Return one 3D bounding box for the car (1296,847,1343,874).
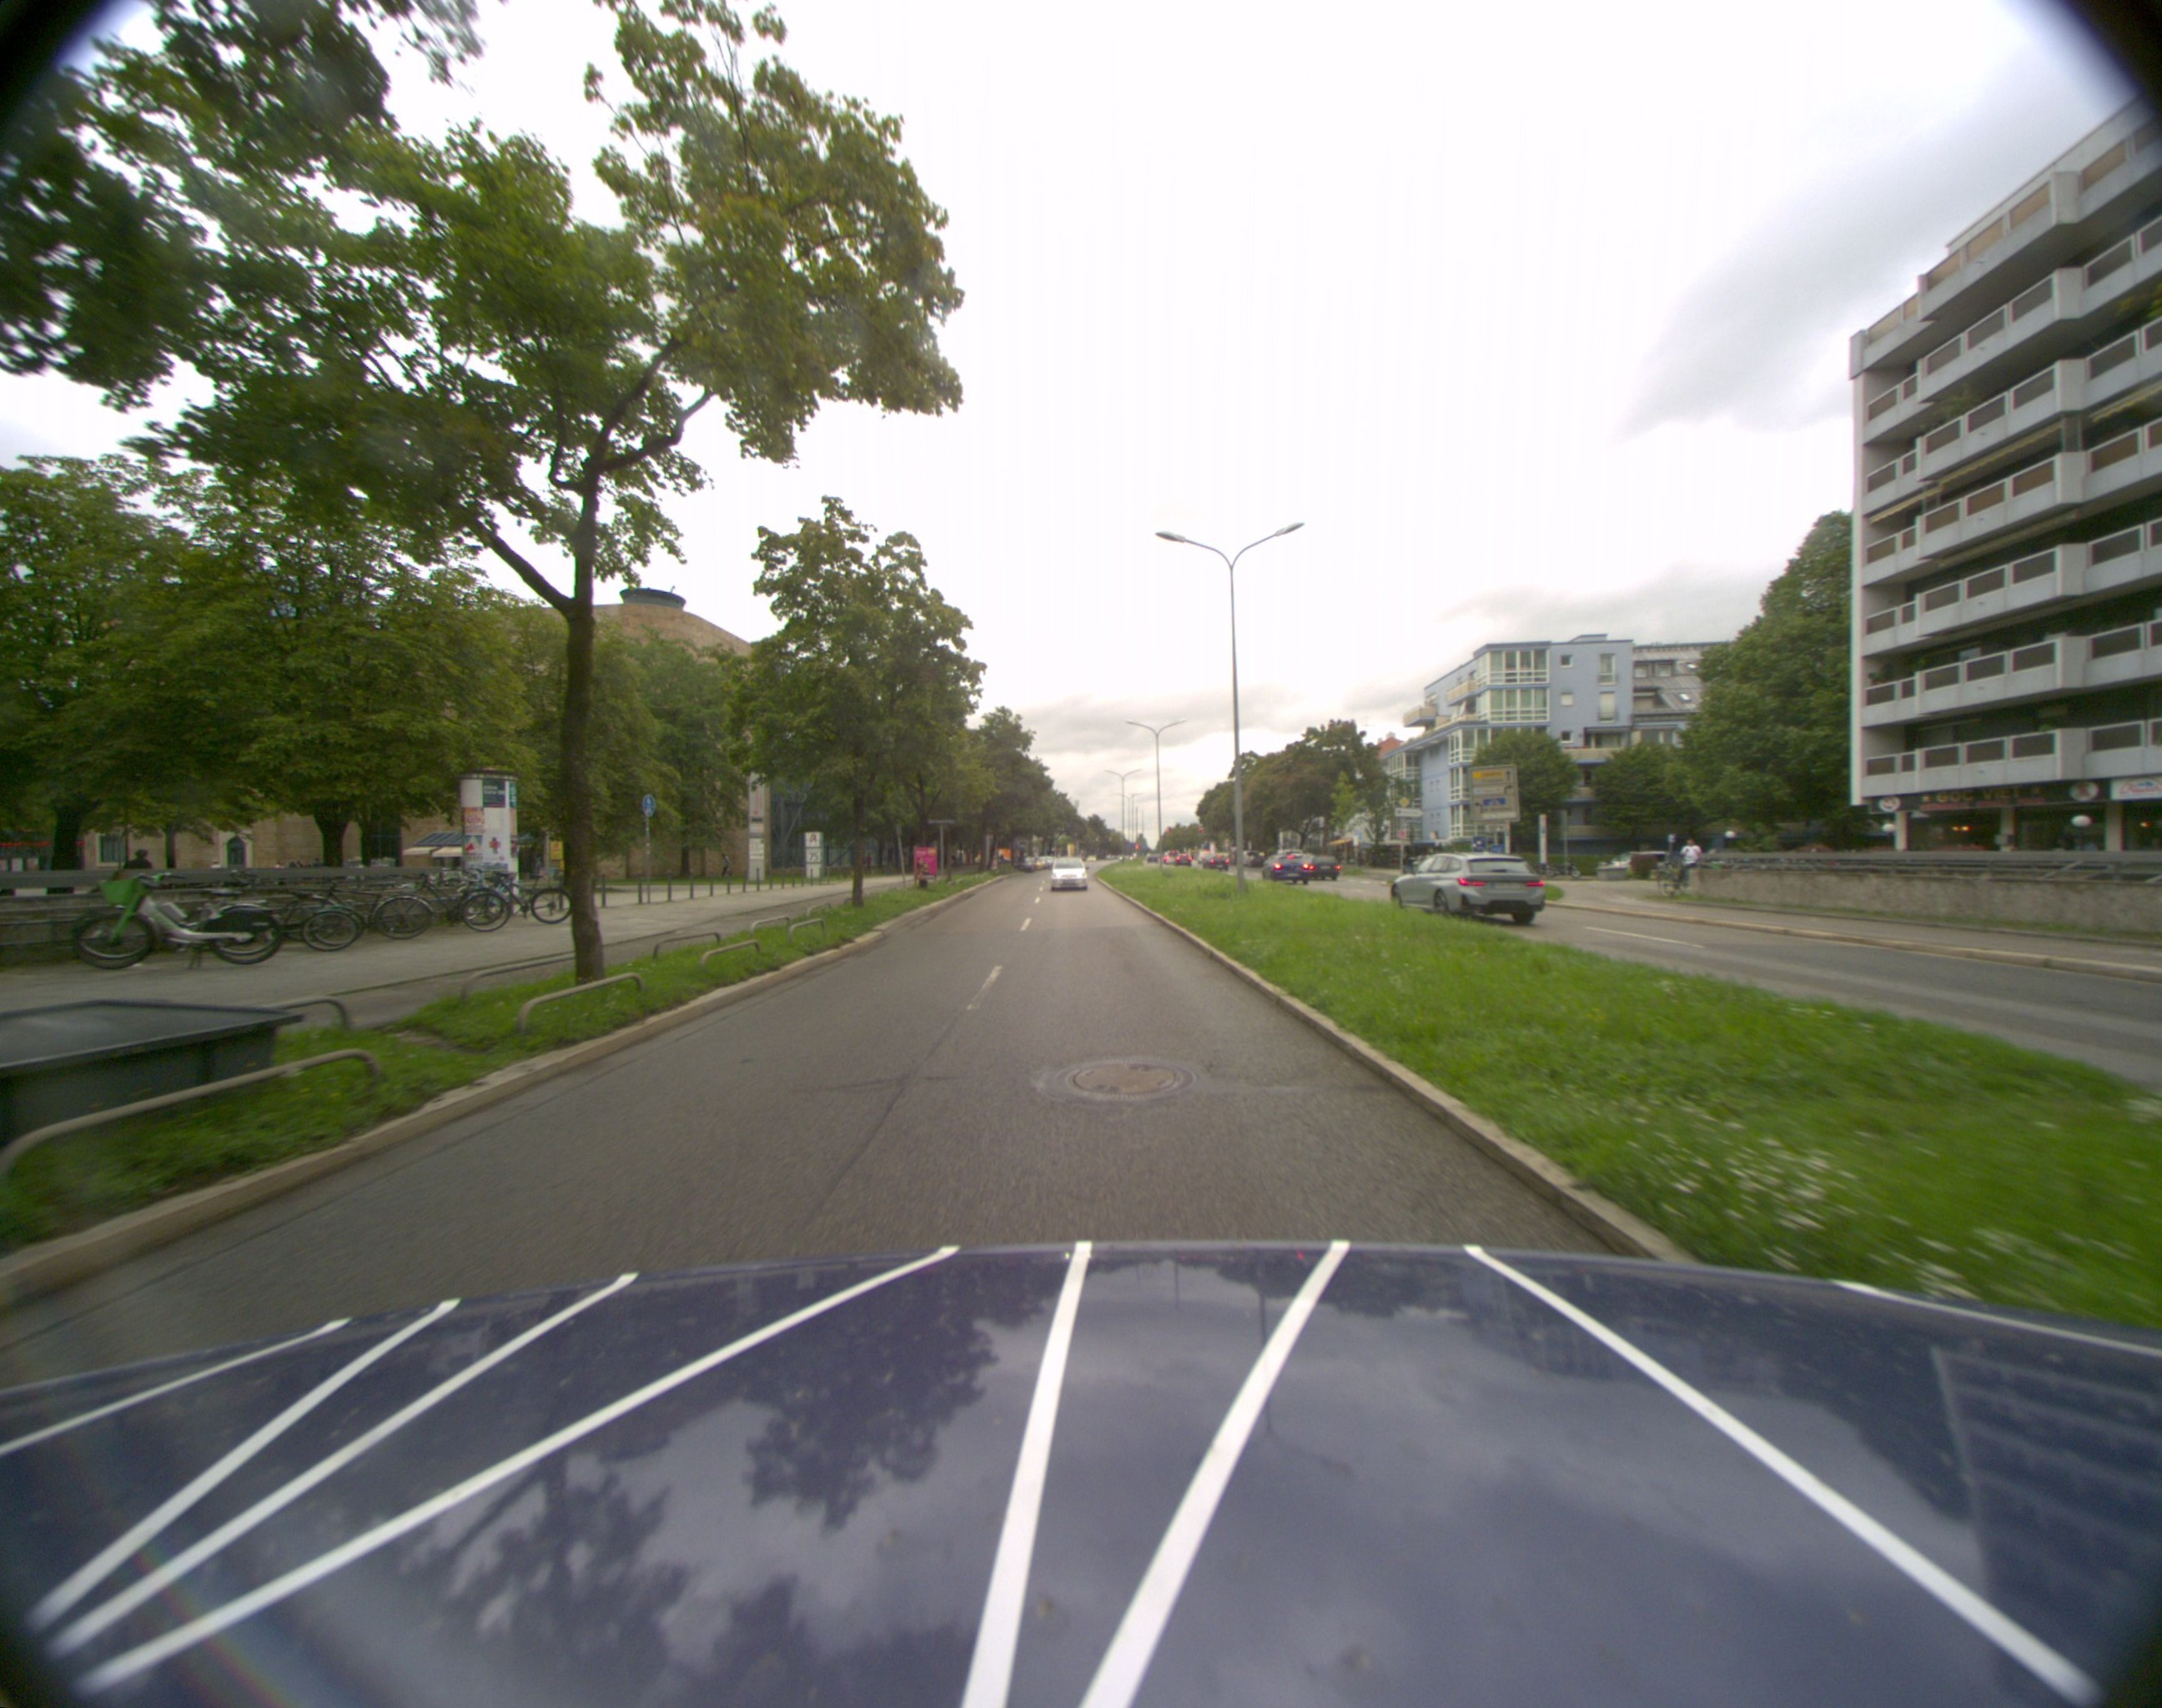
[{"bbox_3d":[13.762,0.366,44.108,1.695,1.475,3.968,-1,0,4],"label":"car"}]

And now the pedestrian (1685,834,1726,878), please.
[{"bbox_3d":[24.429,0.084,29.754,0.670,1.698,1.131,-1,1,-1],"label":"pedestrian"}]

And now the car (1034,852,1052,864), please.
[{"bbox_3d":[-4.581,0.457,91.176,1.626,1.466,3.896,0,1,5],"label":"car"}]

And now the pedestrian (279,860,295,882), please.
[{"bbox_3d":[-47.655,1.032,45.610,0.420,1.275,0.513,-1,1,-10],"label":"pedestrian"}]

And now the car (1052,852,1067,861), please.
[{"bbox_3d":[-3.021,0.337,107.190,1.589,1.310,3.735,0,1,5],"label":"car"}]

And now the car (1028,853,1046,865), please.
[{"bbox_3d":[-4.938,0.561,86.379,1.626,1.373,4.195,0,1,3],"label":"car"}]

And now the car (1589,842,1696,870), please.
[{"bbox_3d":[34.878,0.098,47.302,5.113,1.672,2.000,-1,1,3],"label":"car"}]

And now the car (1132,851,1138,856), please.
[{"bbox_3d":[13.965,-0.254,195.982,1.589,1.259,3.735,0,1,5],"label":"car"}]

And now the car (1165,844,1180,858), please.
[{"bbox_3d":[13.296,-0.460,110.377,1.944,1.986,4.705,0,1,5],"label":"car"}]

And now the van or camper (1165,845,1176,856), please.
[{"bbox_3d":[15.076,-0.610,128.225,1.795,1.787,4.126,0,1,5],"label":"van or camper"}]

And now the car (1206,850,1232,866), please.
[{"bbox_3d":[12.577,0.314,69.471,1.786,1.397,4.102,0,1,3],"label":"car"}]

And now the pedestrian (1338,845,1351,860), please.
[{"bbox_3d":[27.450,-0.175,79.139,0.976,1.593,0.766,-1,1,-9],"label":"pedestrian"}]

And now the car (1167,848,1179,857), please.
[{"bbox_3d":[14.478,-0.248,119.764,1.795,1.440,3.673,0,1,5],"label":"car"}]

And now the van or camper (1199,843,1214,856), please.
[{"bbox_3d":[20.208,-0.682,122.747,2.020,2.004,5.200,0,1,5],"label":"van or camper"}]

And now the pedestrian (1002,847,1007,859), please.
[{"bbox_3d":[-10.993,-0.168,109.008,0.528,1.713,0.660,1,2,0],"label":"pedestrian"}]

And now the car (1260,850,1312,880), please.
[{"bbox_3d":[10.075,0.487,37.620,1.695,1.394,3.968,0,0,4],"label":"car"}]

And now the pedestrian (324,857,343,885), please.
[{"bbox_3d":[-45.341,1.014,46.096,0.563,1.668,0.593,-1,1,3],"label":"pedestrian"}]

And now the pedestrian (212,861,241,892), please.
[{"bbox_3d":[-46.703,1.215,41.537,0.588,1.668,0.866,0,1,4],"label":"pedestrian"}]

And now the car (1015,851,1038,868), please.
[{"bbox_3d":[-5.428,0.526,76.601,1.865,1.581,4.603,0,1,2],"label":"car"}]

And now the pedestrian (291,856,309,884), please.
[{"bbox_3d":[-45.718,0.932,44.479,0.594,1.668,0.502,-1,1,-35],"label":"pedestrian"}]

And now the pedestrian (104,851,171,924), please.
[{"bbox_3d":[-23.115,0.803,18.626,0.687,1.762,0.770,0,1,15],"label":"pedestrian"}]

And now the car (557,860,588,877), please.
[{"bbox_3d":[-33.422,0.966,49.965,0.678,1.008,2.077,-1,2,0],"label":"car"}]

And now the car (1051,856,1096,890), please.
[{"bbox_3d":[-0.293,0.830,34.952,1.679,1.434,3.735,0,1,5],"label":"car"}]

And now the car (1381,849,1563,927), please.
[{"bbox_3d":[8.396,0.634,16.920,1.919,1.476,4.866,0,1,5],"label":"car"}]

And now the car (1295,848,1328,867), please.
[{"bbox_3d":[18.159,0.241,59.968,1.651,1.481,3.902,0,1,3],"label":"car"}]

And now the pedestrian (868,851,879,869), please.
[{"bbox_3d":[-19.117,0.575,70.018,0.738,1.636,0.863,1,2,10],"label":"pedestrian"}]

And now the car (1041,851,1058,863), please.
[{"bbox_3d":[-3.988,0.386,96.524,1.682,1.522,4.097,0,1,5],"label":"car"}]

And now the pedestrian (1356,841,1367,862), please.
[{"bbox_3d":[24.691,-0.212,66.917,0.644,1.795,0.779,0,1,-4],"label":"pedestrian"}]

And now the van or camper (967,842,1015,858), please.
[{"bbox_3d":[-21.289,-0.893,180.176,10.885,3.533,3.325,-1,1,3],"label":"van or camper"}]

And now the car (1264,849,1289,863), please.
[{"bbox_3d":[19.623,0.201,76.392,1.679,1.386,4.335,0,1,3],"label":"car"}]

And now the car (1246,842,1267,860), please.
[{"bbox_3d":[20.739,-0.359,89.947,1.800,1.986,4.547,0,1,5],"label":"car"}]

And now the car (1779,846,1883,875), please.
[{"bbox_3d":[45.481,0.381,46.151,4.257,1.672,2.000,-1,1,3],"label":"car"}]

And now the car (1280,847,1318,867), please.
[{"bbox_3d":[18.512,0.225,64.814,1.703,1.606,4.662,0,1,-3],"label":"car"}]

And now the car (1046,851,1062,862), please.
[{"bbox_3d":[-3.551,0.328,101.702,1.682,1.497,3.735,0,1,5],"label":"car"}]

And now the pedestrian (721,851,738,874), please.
[{"bbox_3d":[-24.581,0.592,53.171,0.571,1.636,0.880,0,1,35],"label":"pedestrian"}]

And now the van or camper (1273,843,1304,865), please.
[{"bbox_3d":[19.071,-0.047,70.135,1.809,1.956,5.212,0,1,4],"label":"van or camper"}]

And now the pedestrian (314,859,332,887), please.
[{"bbox_3d":[-45.106,1.131,45.204,0.502,1.668,0.594,0,1,25],"label":"pedestrian"}]

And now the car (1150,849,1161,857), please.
[{"bbox_3d":[12.768,-0.206,130.261,1.761,1.440,3.673,0,1,5],"label":"car"}]

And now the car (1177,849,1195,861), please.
[{"bbox_3d":[12.524,0.097,90.985,1.961,1.471,4.260,0,0,5],"label":"car"}]

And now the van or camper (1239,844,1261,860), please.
[{"bbox_3d":[21.326,-0.292,95.957,2.025,1.931,4.705,0,1,5],"label":"van or camper"}]

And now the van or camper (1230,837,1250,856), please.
[{"bbox_3d":[22.034,-1.014,105.430,2.054,2.472,5.549,0,1,4],"label":"van or camper"}]
